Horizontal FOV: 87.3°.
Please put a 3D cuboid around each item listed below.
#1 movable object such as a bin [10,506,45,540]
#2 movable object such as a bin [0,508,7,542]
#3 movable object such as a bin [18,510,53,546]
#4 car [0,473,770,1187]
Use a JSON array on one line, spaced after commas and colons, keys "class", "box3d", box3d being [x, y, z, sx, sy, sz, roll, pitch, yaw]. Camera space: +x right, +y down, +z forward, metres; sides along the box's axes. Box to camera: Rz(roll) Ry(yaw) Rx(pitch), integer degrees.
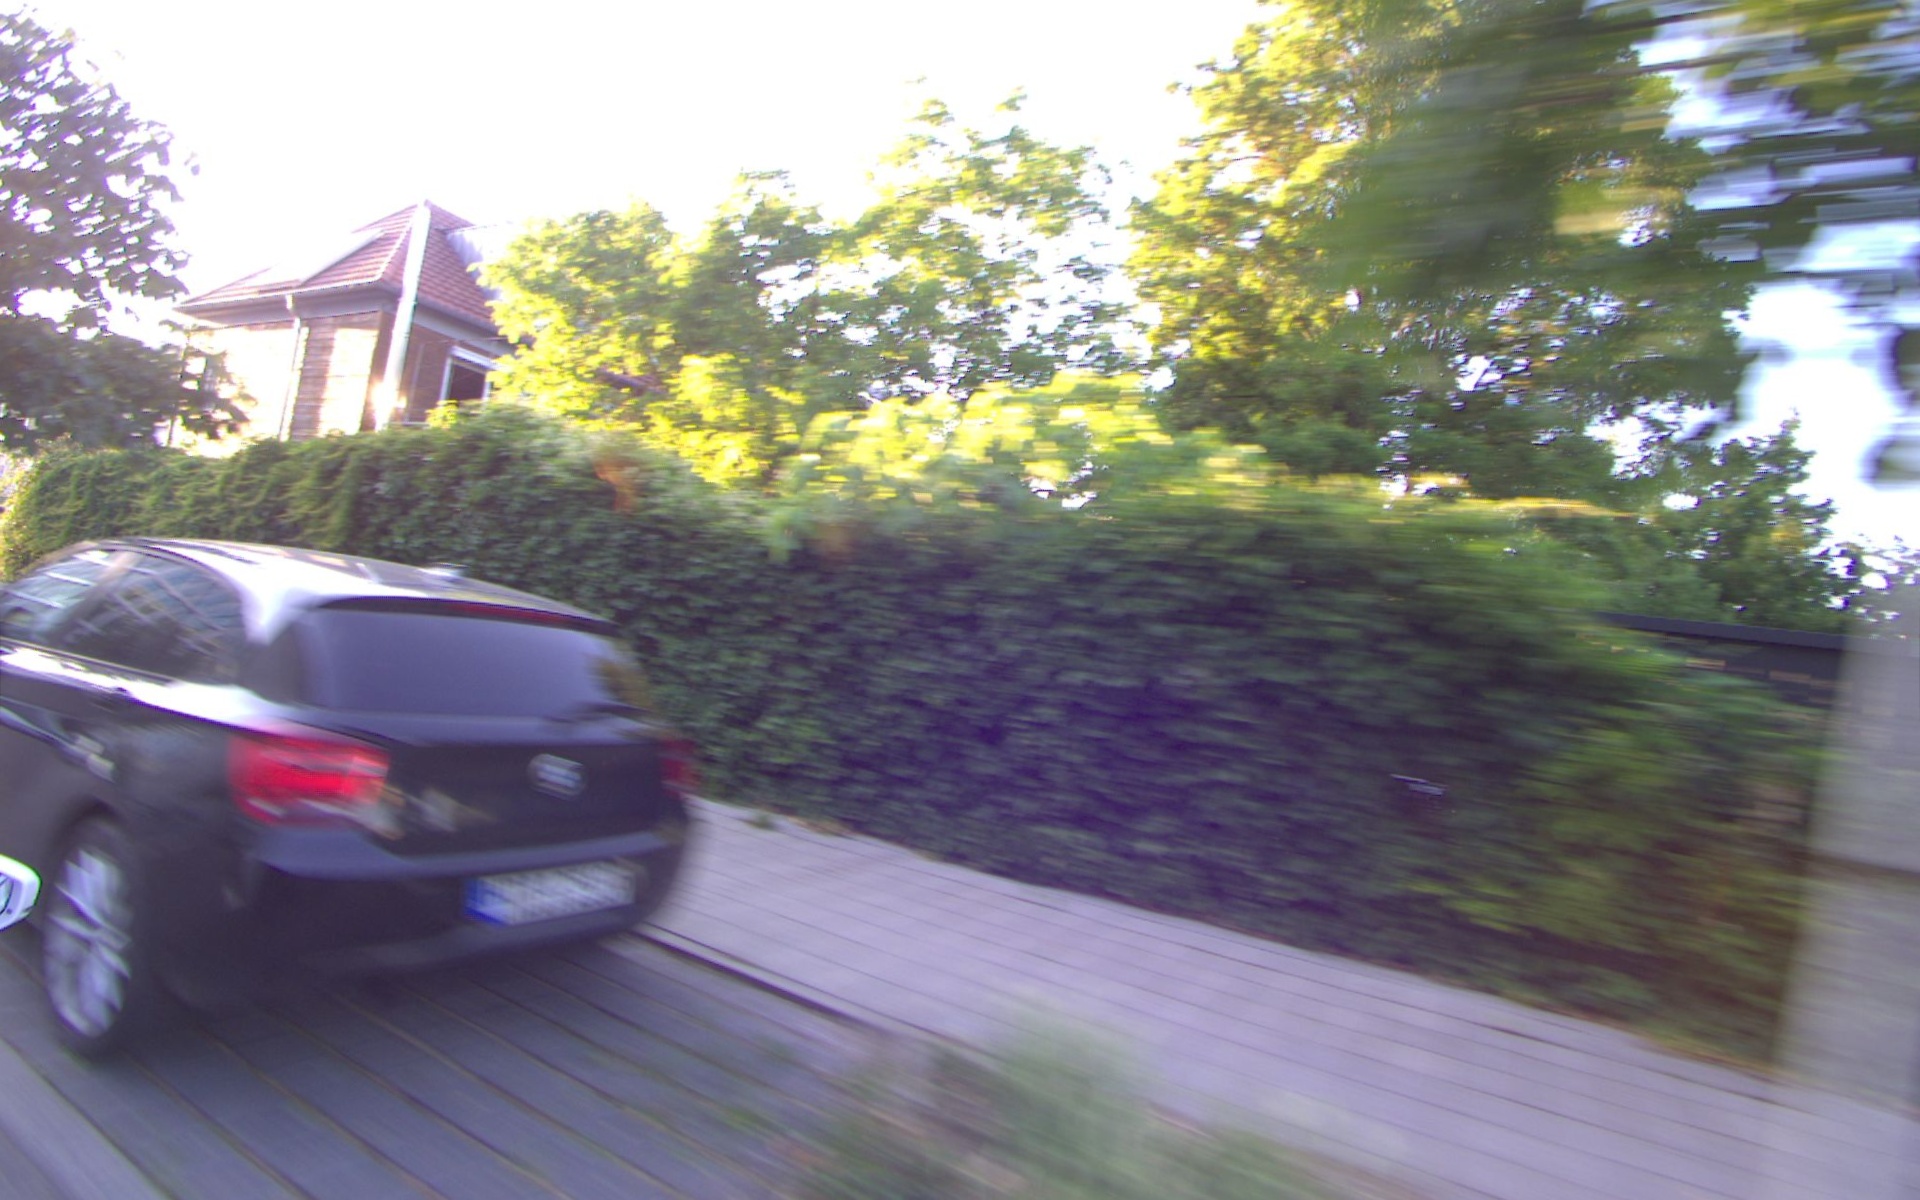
[{"class": "movable object such as a bin", "box3d": [-29.989, -2.476, 32.352, 0.677, 0.969, 0.579, 9, -1, 34]}, {"class": "movable object such as a bin", "box3d": [-28.781, -2.282, 29.782, 0.677, 0.969, 0.579, 9, -1, 34]}, {"class": "movable object such as a bin", "box3d": [-29.267, -2.283, 31.844, 0.677, 0.969, 0.579, 9, -1, 34]}, {"class": "car", "box3d": [-2.971, 0.419, 4.060, 4.123, 1.526, 1.696, 7, -2, 32]}]
